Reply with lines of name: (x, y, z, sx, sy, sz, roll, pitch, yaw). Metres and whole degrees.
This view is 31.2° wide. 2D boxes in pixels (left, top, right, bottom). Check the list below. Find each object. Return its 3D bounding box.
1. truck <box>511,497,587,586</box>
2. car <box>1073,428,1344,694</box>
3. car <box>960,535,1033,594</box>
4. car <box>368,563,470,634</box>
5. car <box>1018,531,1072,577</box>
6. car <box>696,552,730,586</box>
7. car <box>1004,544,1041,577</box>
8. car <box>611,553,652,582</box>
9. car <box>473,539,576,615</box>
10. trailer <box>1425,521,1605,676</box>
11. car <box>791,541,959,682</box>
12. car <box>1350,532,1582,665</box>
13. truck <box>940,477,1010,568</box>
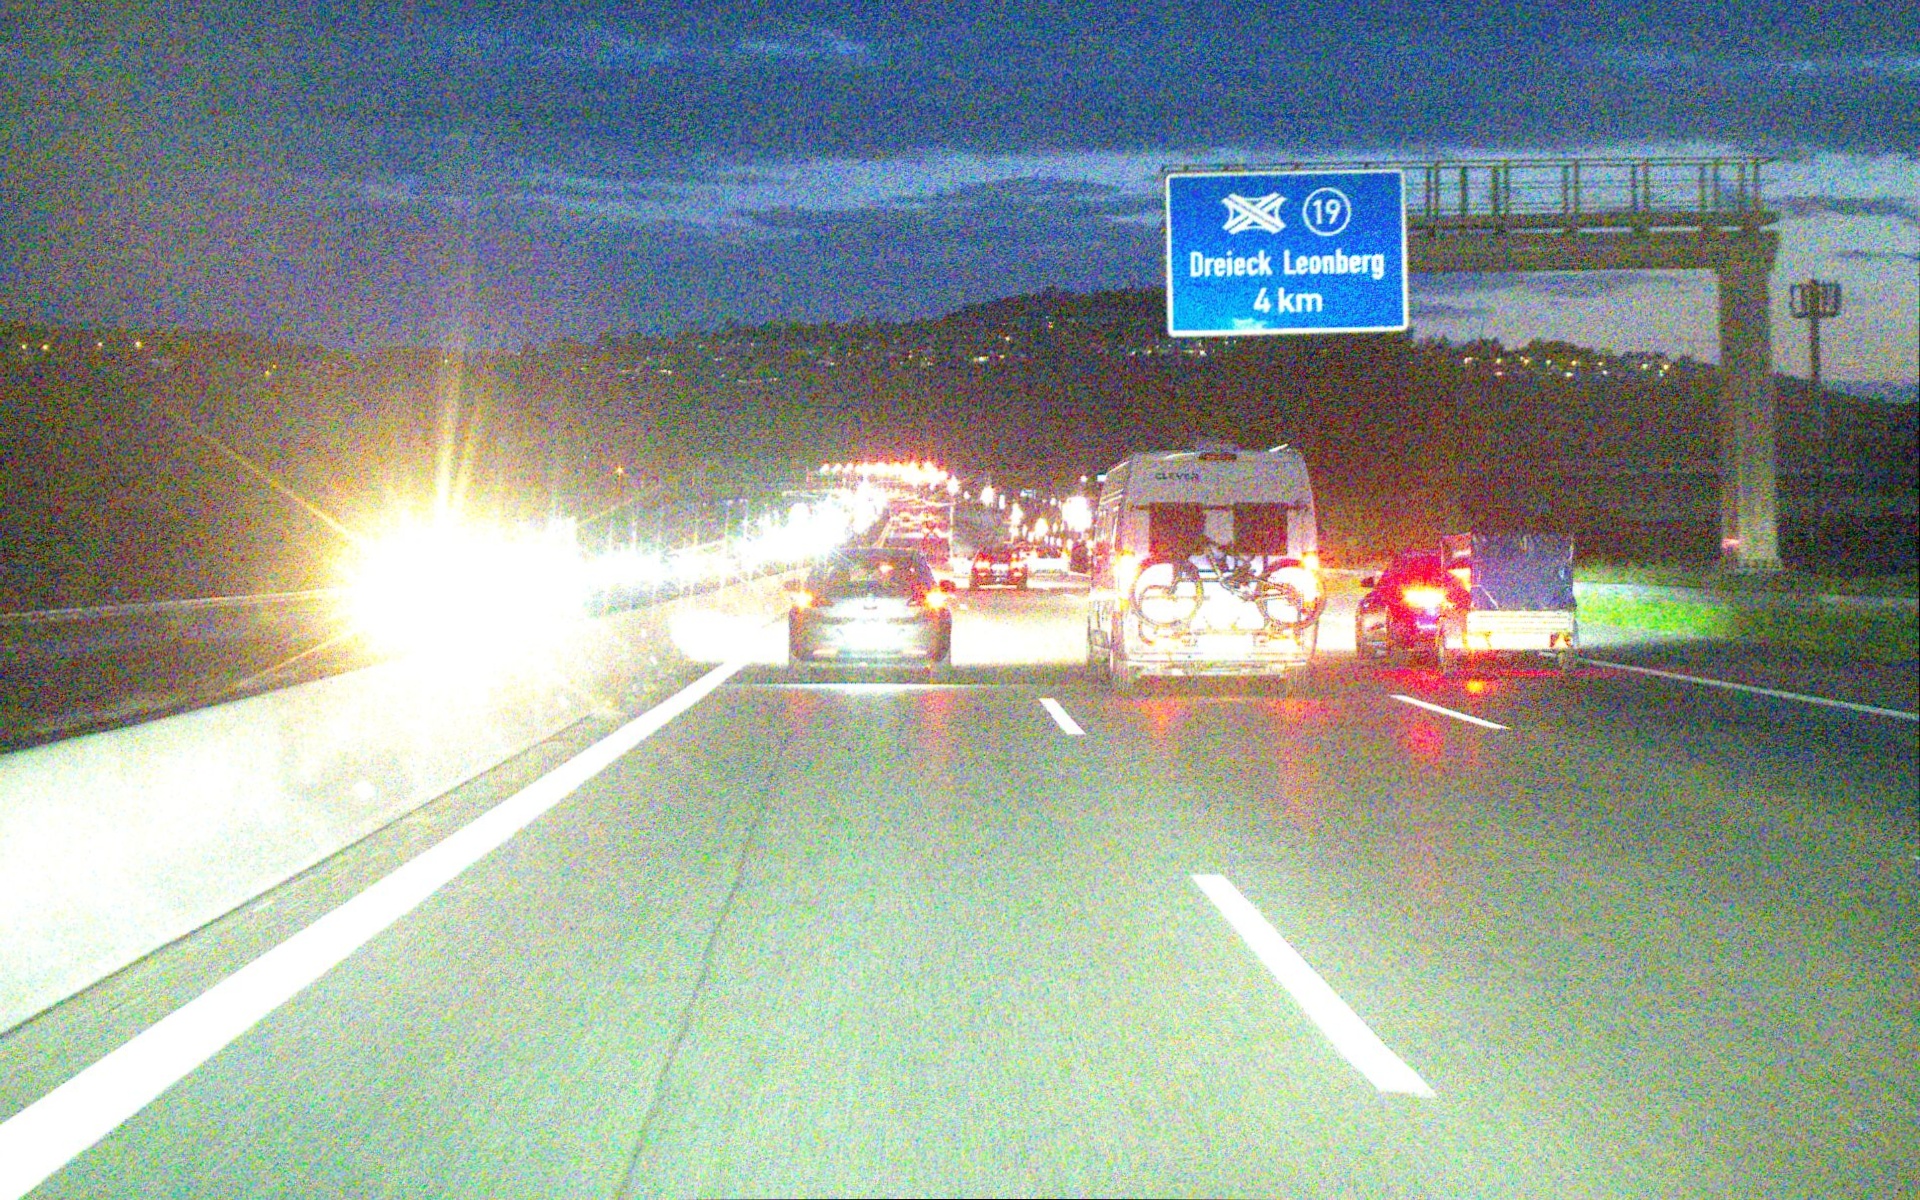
truck: (-18.960, -2.707, 158.970, 2.781, 3.942, 7.994, -1, 1, -2)
car: (2.499, -0.448, 36.142, 2.351, 2.526, 5.701, -1, 1, 0)
car: (1.207, -1.206, 116.209, 2.351, 1.907, 4.723, -1, 1, 0)
car: (-13.244, -0.060, 84.346, 1.812, 1.637, 4.158, -1, 1, 0)
car: (4.008, -2.204, 162.499, 2.351, 2.068, 4.723, -1, 1, 0)
car: (-14.823, -1.856, 206.709, 1.773, 1.961, 4.000, -1, 1, -1)
car: (3.648, -2.333, 201.468, 1.993, 1.941, 4.000, 0, 1, -1)
car: (-18.781, -1.888, 196.506, 1.993, 1.626, 4.000, 0, 1, -1)
car: (-9.896, -0.540, 78.427, 1.812, 1.637, 4.158, -1, 1, 0)
trailer: (6.306, -0.046, 39.290, 1.566, 1.687, 2.821, -1, 1, 0)
car: (-0.919, 0.091, 38.514, 1.793, 1.464, 3.773, 0, 1, 0)
car: (6.246, -0.068, 42.954, 2.163, 1.558, 4.723, 0, 1, 0)
truck: (0.657, -3.493, 156.304, 2.781, 3.942, 7.994, -1, 1, -2)
